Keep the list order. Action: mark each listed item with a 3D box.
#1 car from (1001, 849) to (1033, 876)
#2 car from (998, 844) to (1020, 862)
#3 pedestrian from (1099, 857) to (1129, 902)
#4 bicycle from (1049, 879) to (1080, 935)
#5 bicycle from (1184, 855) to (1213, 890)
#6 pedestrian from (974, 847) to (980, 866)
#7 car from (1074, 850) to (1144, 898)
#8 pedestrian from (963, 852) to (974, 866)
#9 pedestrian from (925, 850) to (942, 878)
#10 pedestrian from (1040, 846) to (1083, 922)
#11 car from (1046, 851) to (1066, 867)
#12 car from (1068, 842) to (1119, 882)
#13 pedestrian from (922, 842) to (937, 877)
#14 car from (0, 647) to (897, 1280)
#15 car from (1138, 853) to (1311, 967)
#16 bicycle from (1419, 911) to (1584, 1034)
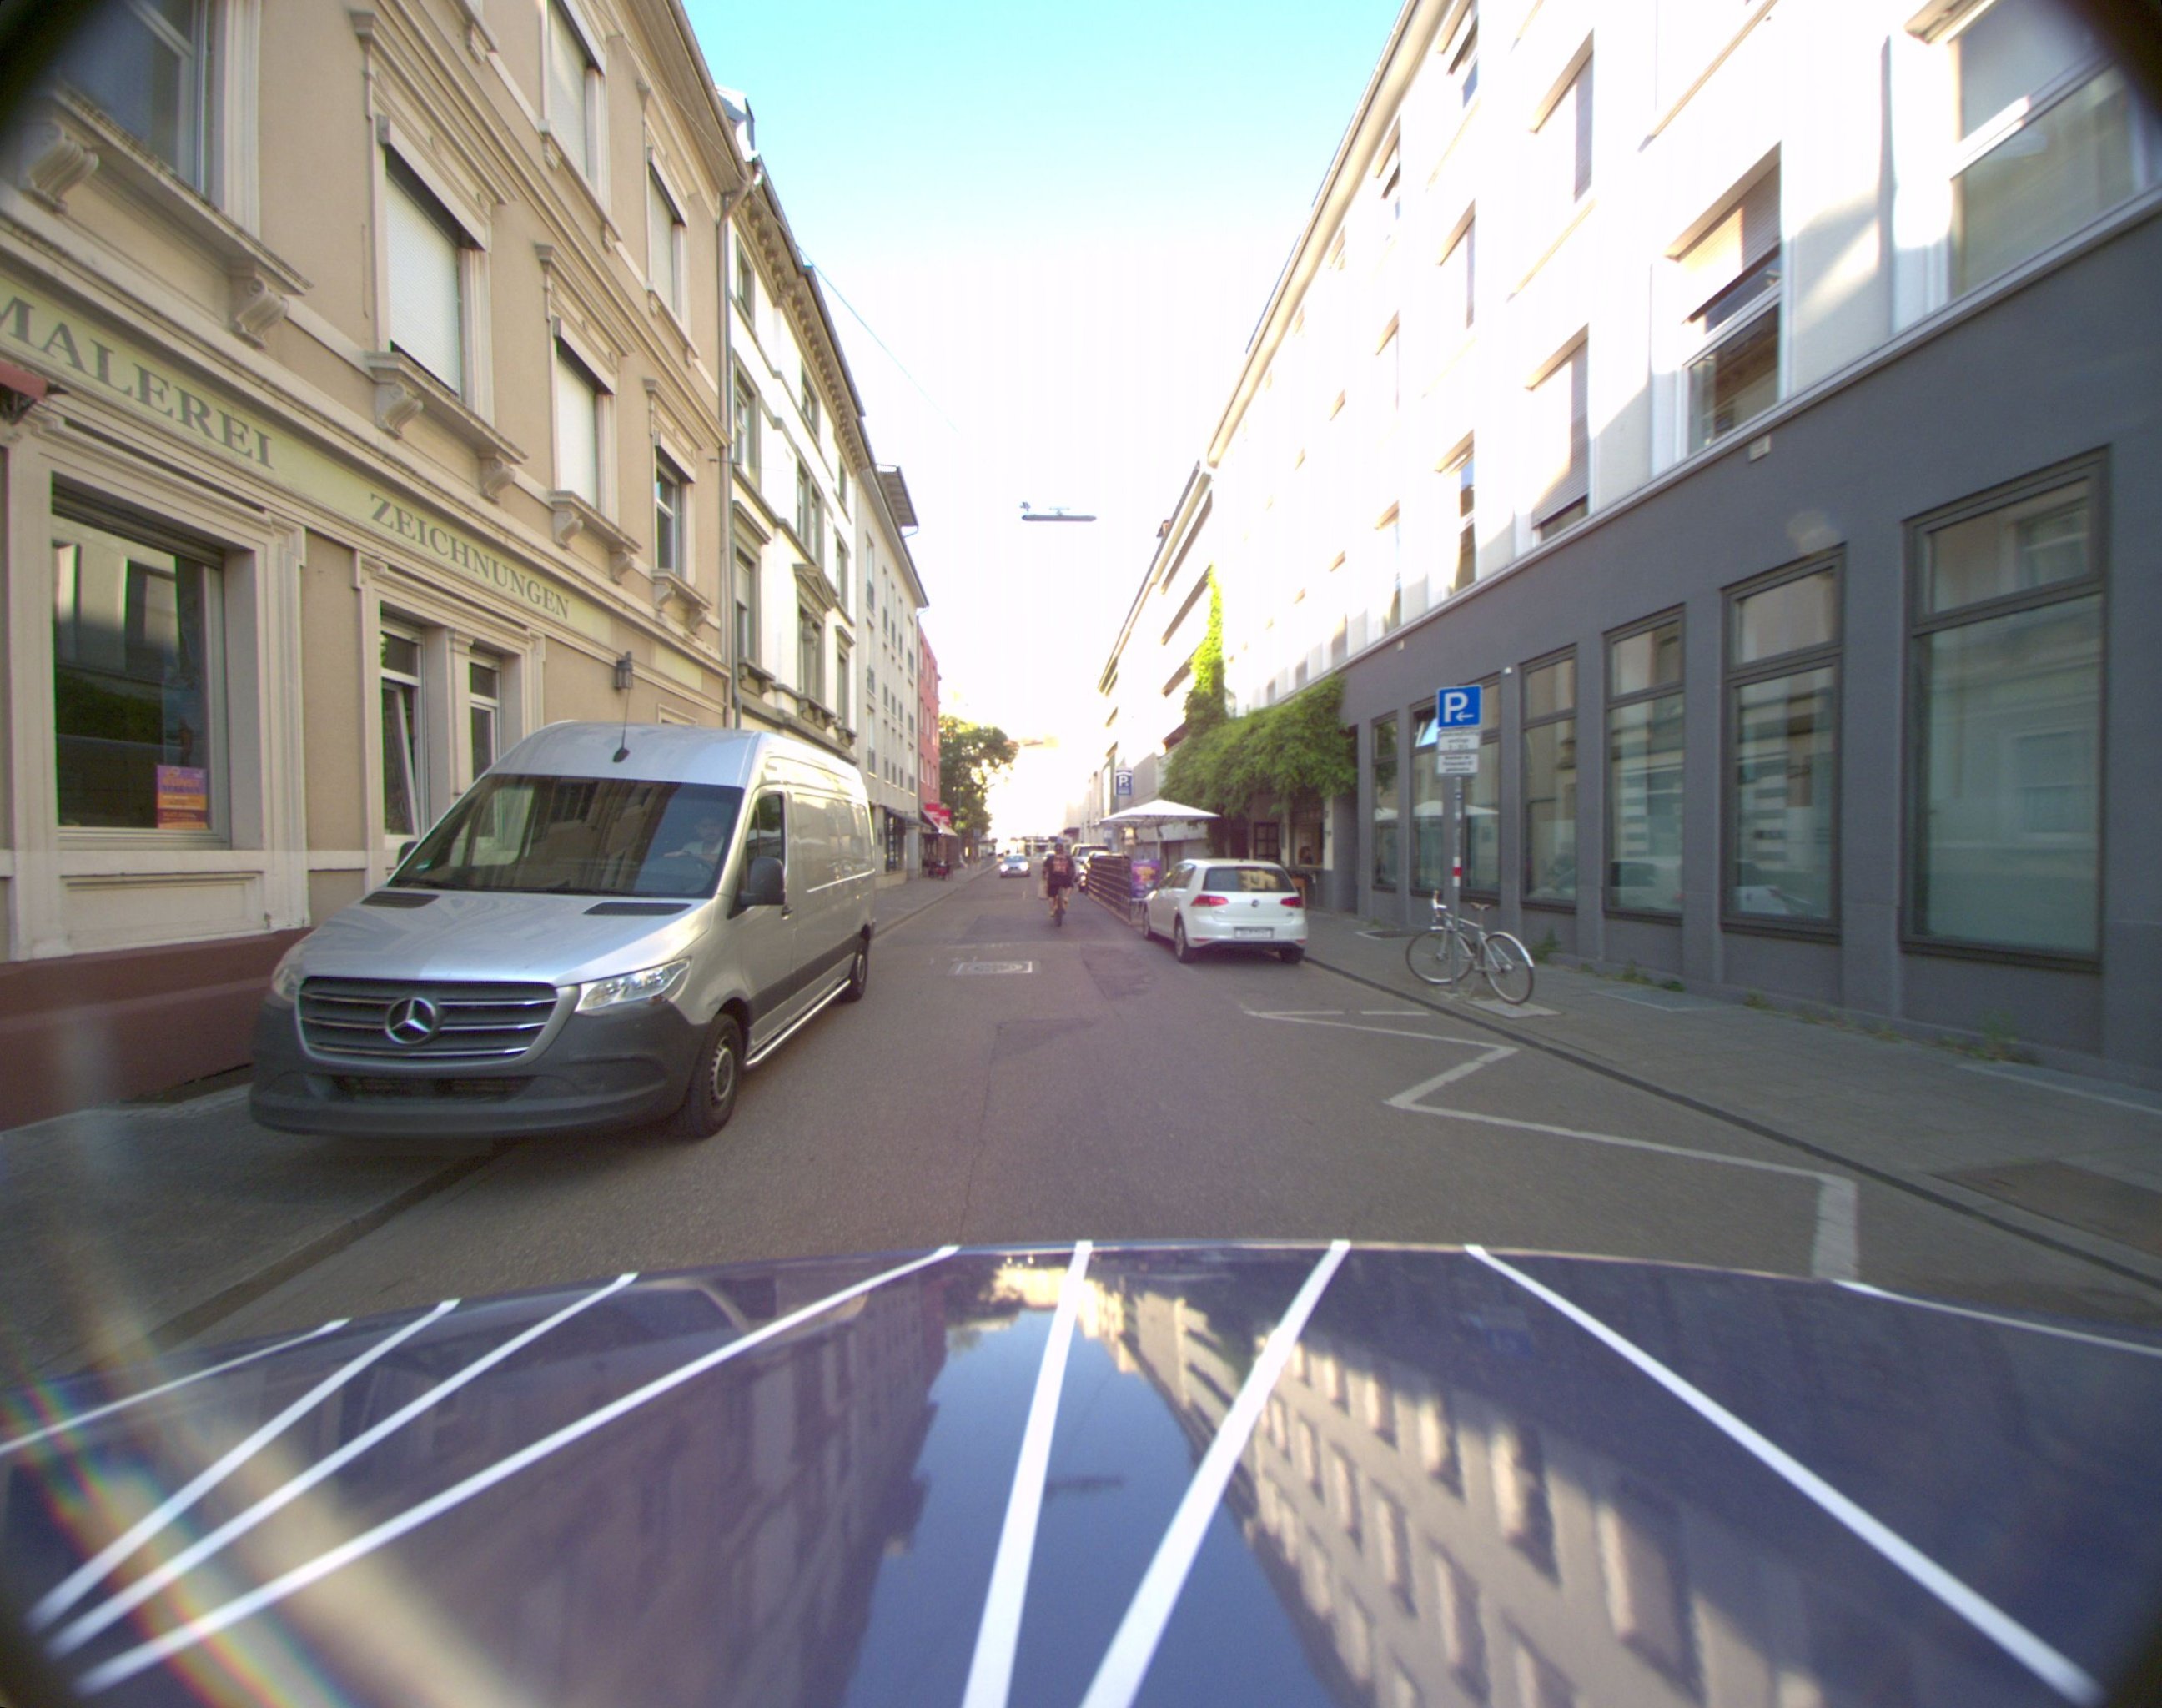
[{"bbox_3d":[-3.904,0.466,46.341,1.789,1.516,3.998,-2,1,-5],"label":"car"},{"bbox_3d":[-8.041,-0.152,85.168,1.998,2.002,4.000,0,1,1],"label":"car"},{"bbox_3d":[0.970,0.732,22.457,0.783,1.279,0.915,0,1,-4],"label":"pedestrian"},{"bbox_3d":[-0.368,1.067,15.885,0.539,1.002,1.980,-1,1,-5],"label":"bicycle"},{"bbox_3d":[4.099,0.616,26.559,0.645,1.153,1.793,-1,1,-3],"label":"bicycle"},{"bbox_3d":[-9.185,0.229,67.159,0.438,1.637,0.557,1,1,3],"label":"pedestrian"},{"bbox_3d":[0.941,0.677,28.472,1.887,1.559,4.767,2,0,-6],"label":"car"},{"bbox_3d":[-9.869,0.440,66.923,0.929,1.242,0.362,1,1,-7],"label":"pedestrian"},{"bbox_3d":[-7.765,0.516,39.971,0.827,1.477,0.660,0,1,-5],"label":"pedestrian"},{"bbox_3d":[-0.430,0.610,16.102,0.831,1.536,1.082,-1,1,-5],"label":"pedestrian"},{"bbox_3d":[-2.510,0.497,77.804,1.999,1.409,4.556,1,1,-1],"label":"car"},{"bbox_3d":[0.579,0.391,39.799,2.000,1.928,4.847,1,0,-6],"label":"car"},{"bbox_3d":[-7.834,0.294,39.254,0.660,1.782,0.729,3,1,-15],"label":"pedestrian"},{"bbox_3d":[-3.236,0.388,6.060,2.283,2.425,6.200,-1,1,-3],"label":"car"},{"bbox_3d":[2.022,0.728,11.846,1.662,1.406,3.880,0,1,-5],"label":"car"},{"bbox_3d":[3.924,1.066,7.255,0.598,0.900,1.643,-1,1,-3],"label":"bicycle"}]
